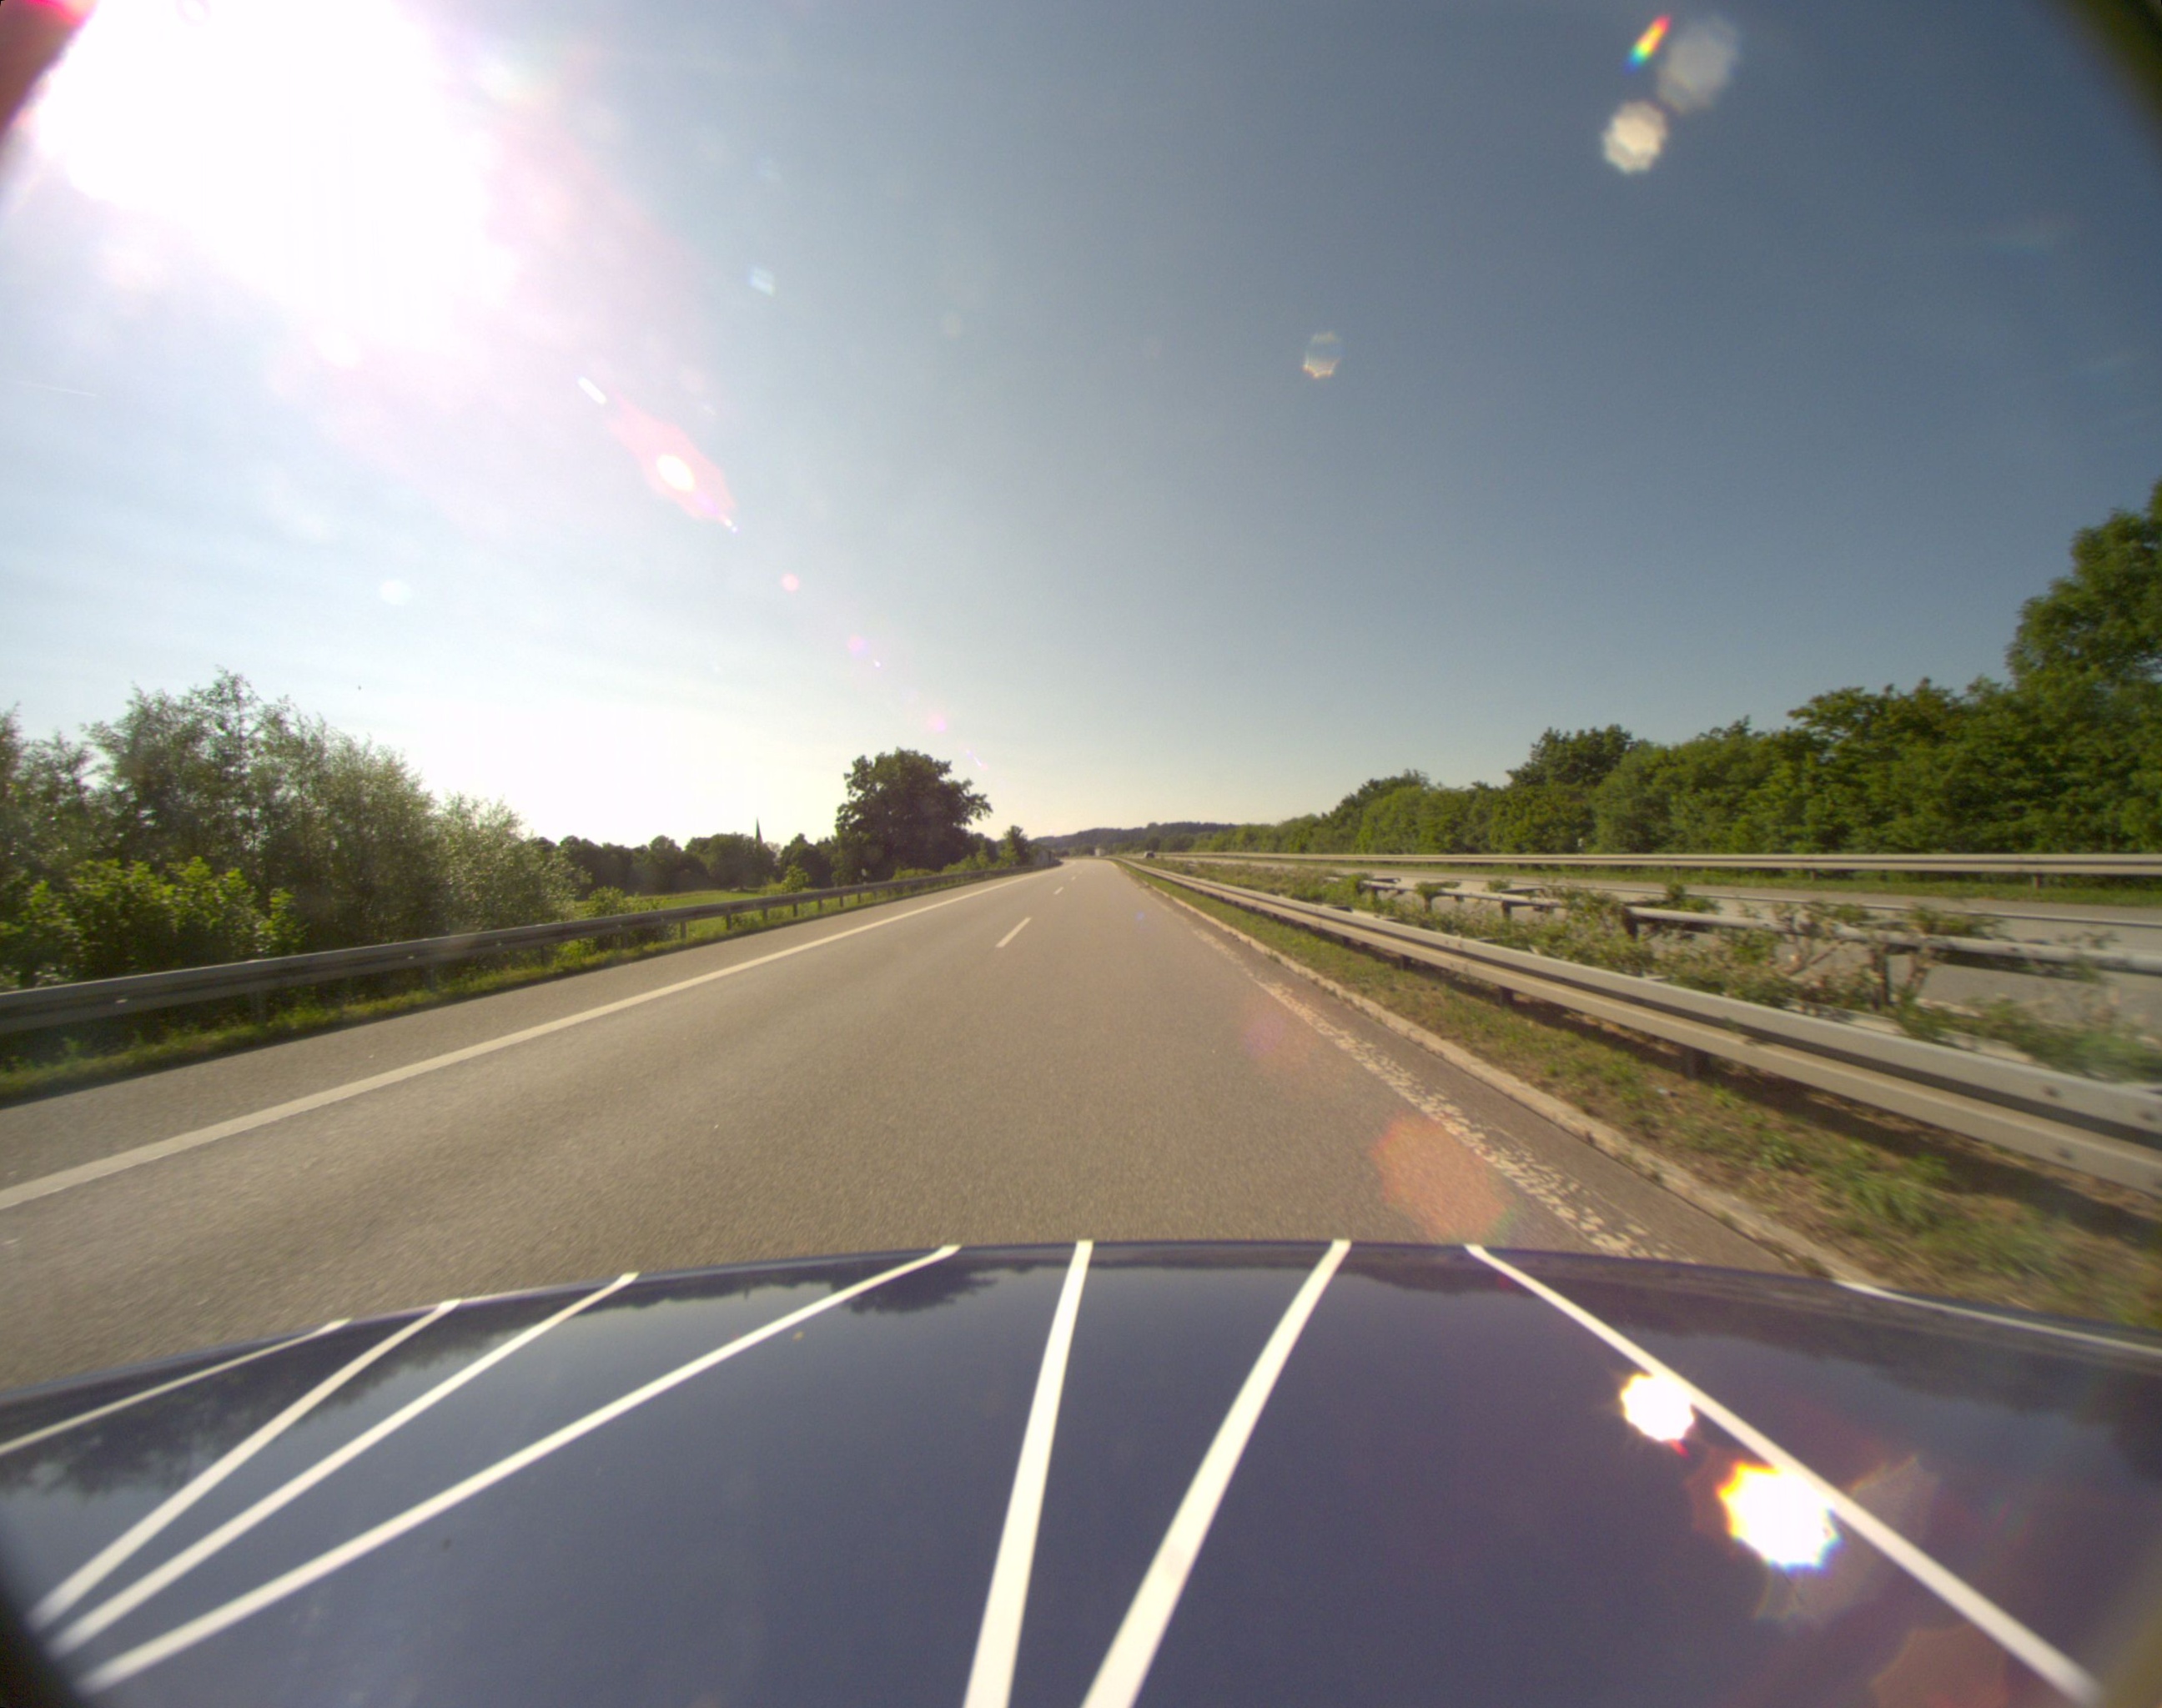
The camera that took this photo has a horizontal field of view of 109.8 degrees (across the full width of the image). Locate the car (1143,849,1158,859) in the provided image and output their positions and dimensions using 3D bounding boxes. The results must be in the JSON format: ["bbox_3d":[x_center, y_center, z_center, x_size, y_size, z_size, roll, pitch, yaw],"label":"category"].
[{"bbox_3d":[11.657,-0.041,127.897,1.914,1.579,4.916,-2,0,-1],"label":"car"}]
